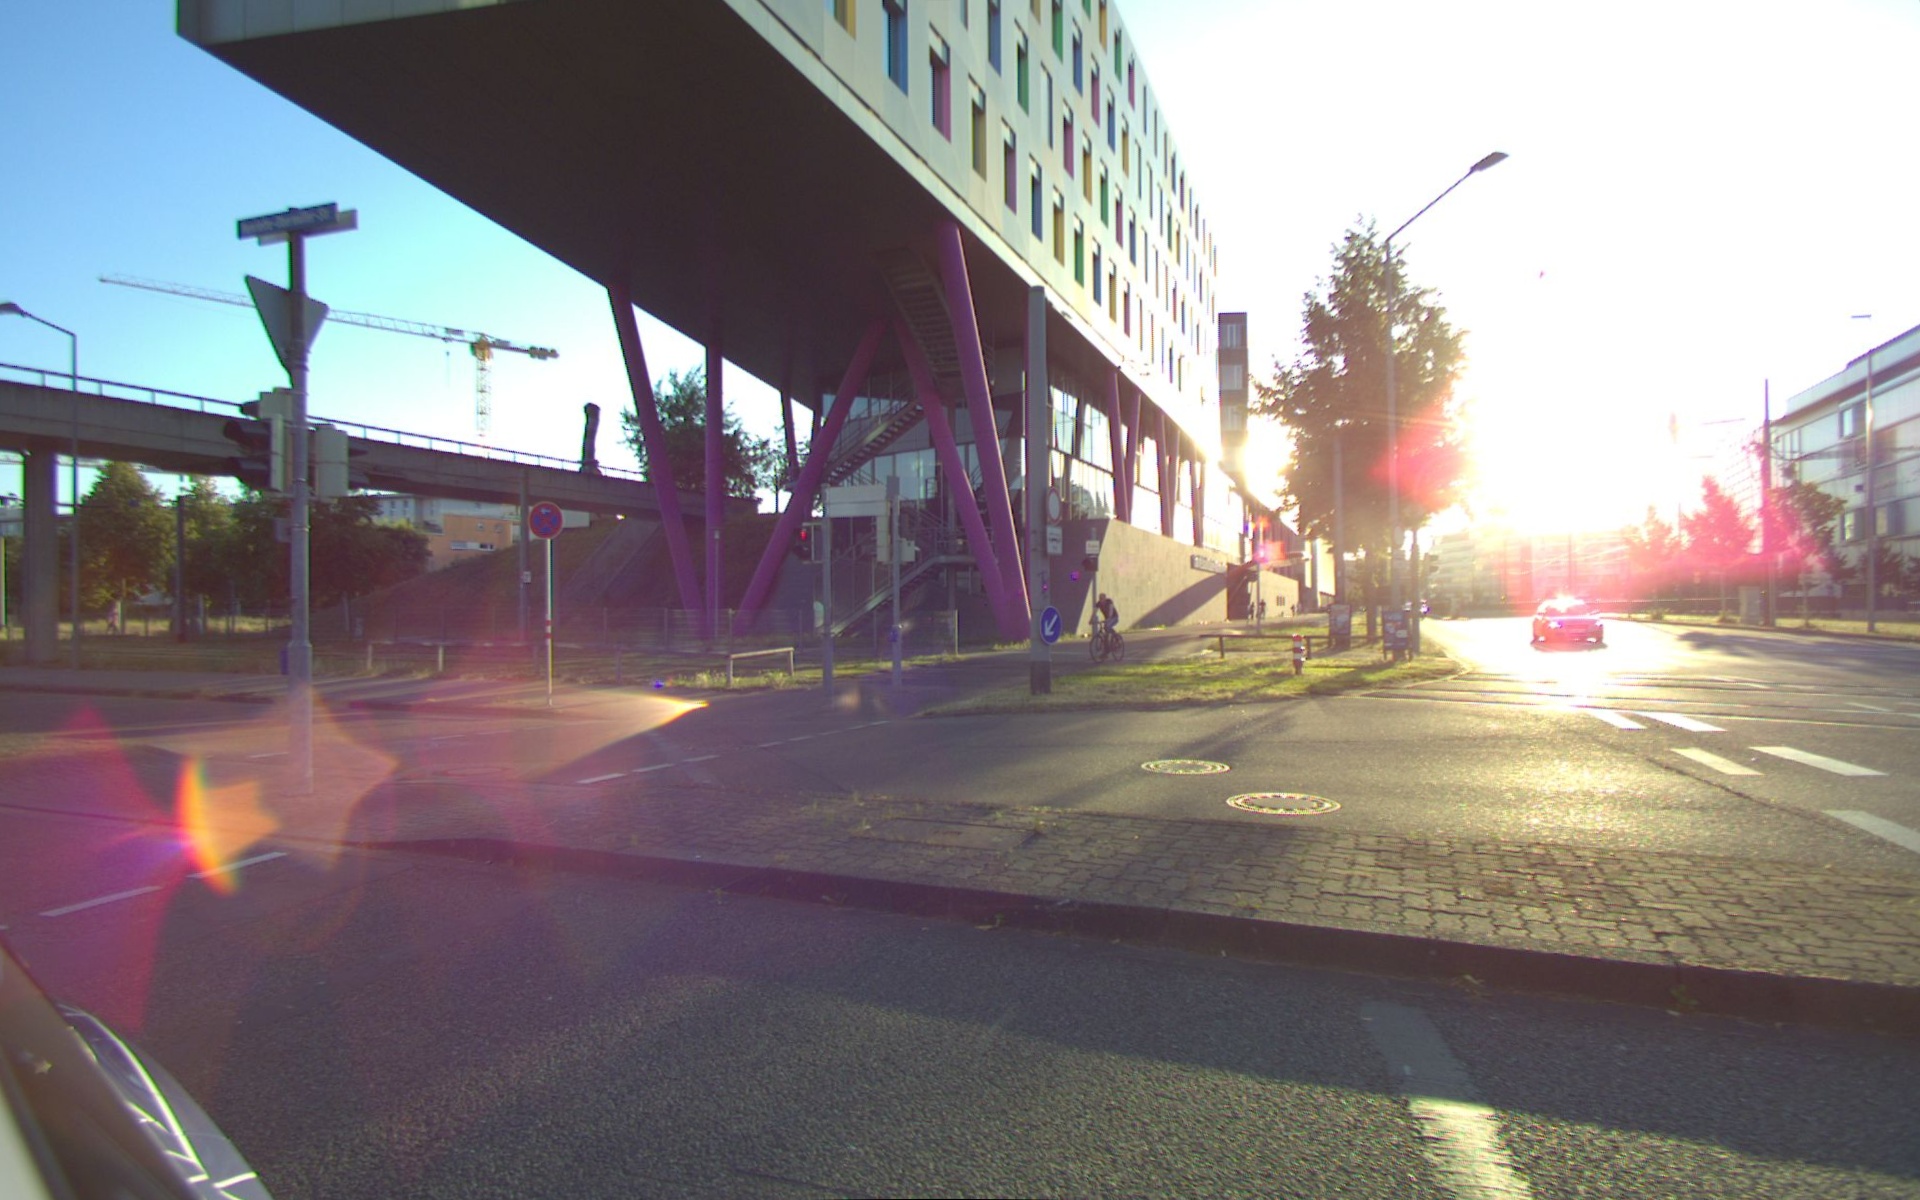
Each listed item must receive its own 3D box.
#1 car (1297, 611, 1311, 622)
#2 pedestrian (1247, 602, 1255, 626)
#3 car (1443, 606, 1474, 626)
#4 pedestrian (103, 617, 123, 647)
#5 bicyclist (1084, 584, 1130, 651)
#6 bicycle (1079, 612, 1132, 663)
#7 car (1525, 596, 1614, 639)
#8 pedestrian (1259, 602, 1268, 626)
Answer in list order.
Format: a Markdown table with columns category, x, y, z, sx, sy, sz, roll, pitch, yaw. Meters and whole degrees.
| category | x | y | z | sx | sy | sz | roll | pitch | yaw |
| --- | --- | --- | --- | --- | --- | --- | --- | --- | --- |
| car | 50.251 | 2.419 | 147.846 | 1.708 | 1.510 | 3.969 | -1 | -1 | 23 |
| pedestrian | 24.839 | 1.169 | 86.347 | 0.615 | 2.029 | 0.806 | 0 | 0 | 23 |
| car | 43.669 | 1.392 | 88.729 | 1.986 | 1.719 | 3.972 | -1 | -1 | 21 |
| pedestrian | -45.644 | 1.713 | 54.556 | 0.416 | 1.623 | 0.770 | -1 | -1 | 36 |
| bicyclist | 3.730 | 0.439 | 25.616 | 0.803 | 1.645 | 1.277 | -1 | -1 | 25 |
| bicycle | 3.692 | 0.927 | 25.518 | 0.739 | 1.216 | 2.092 | -1 | -1 | 25 |
| car | 21.663 | 0.611 | 36.130 | 1.986 | 1.431 | 3.972 | -1 | -1 | 21 |
| pedestrian | 25.798 | 1.167 | 86.001 | 0.615 | 2.029 | 0.806 | 0 | 0 | 23 |
